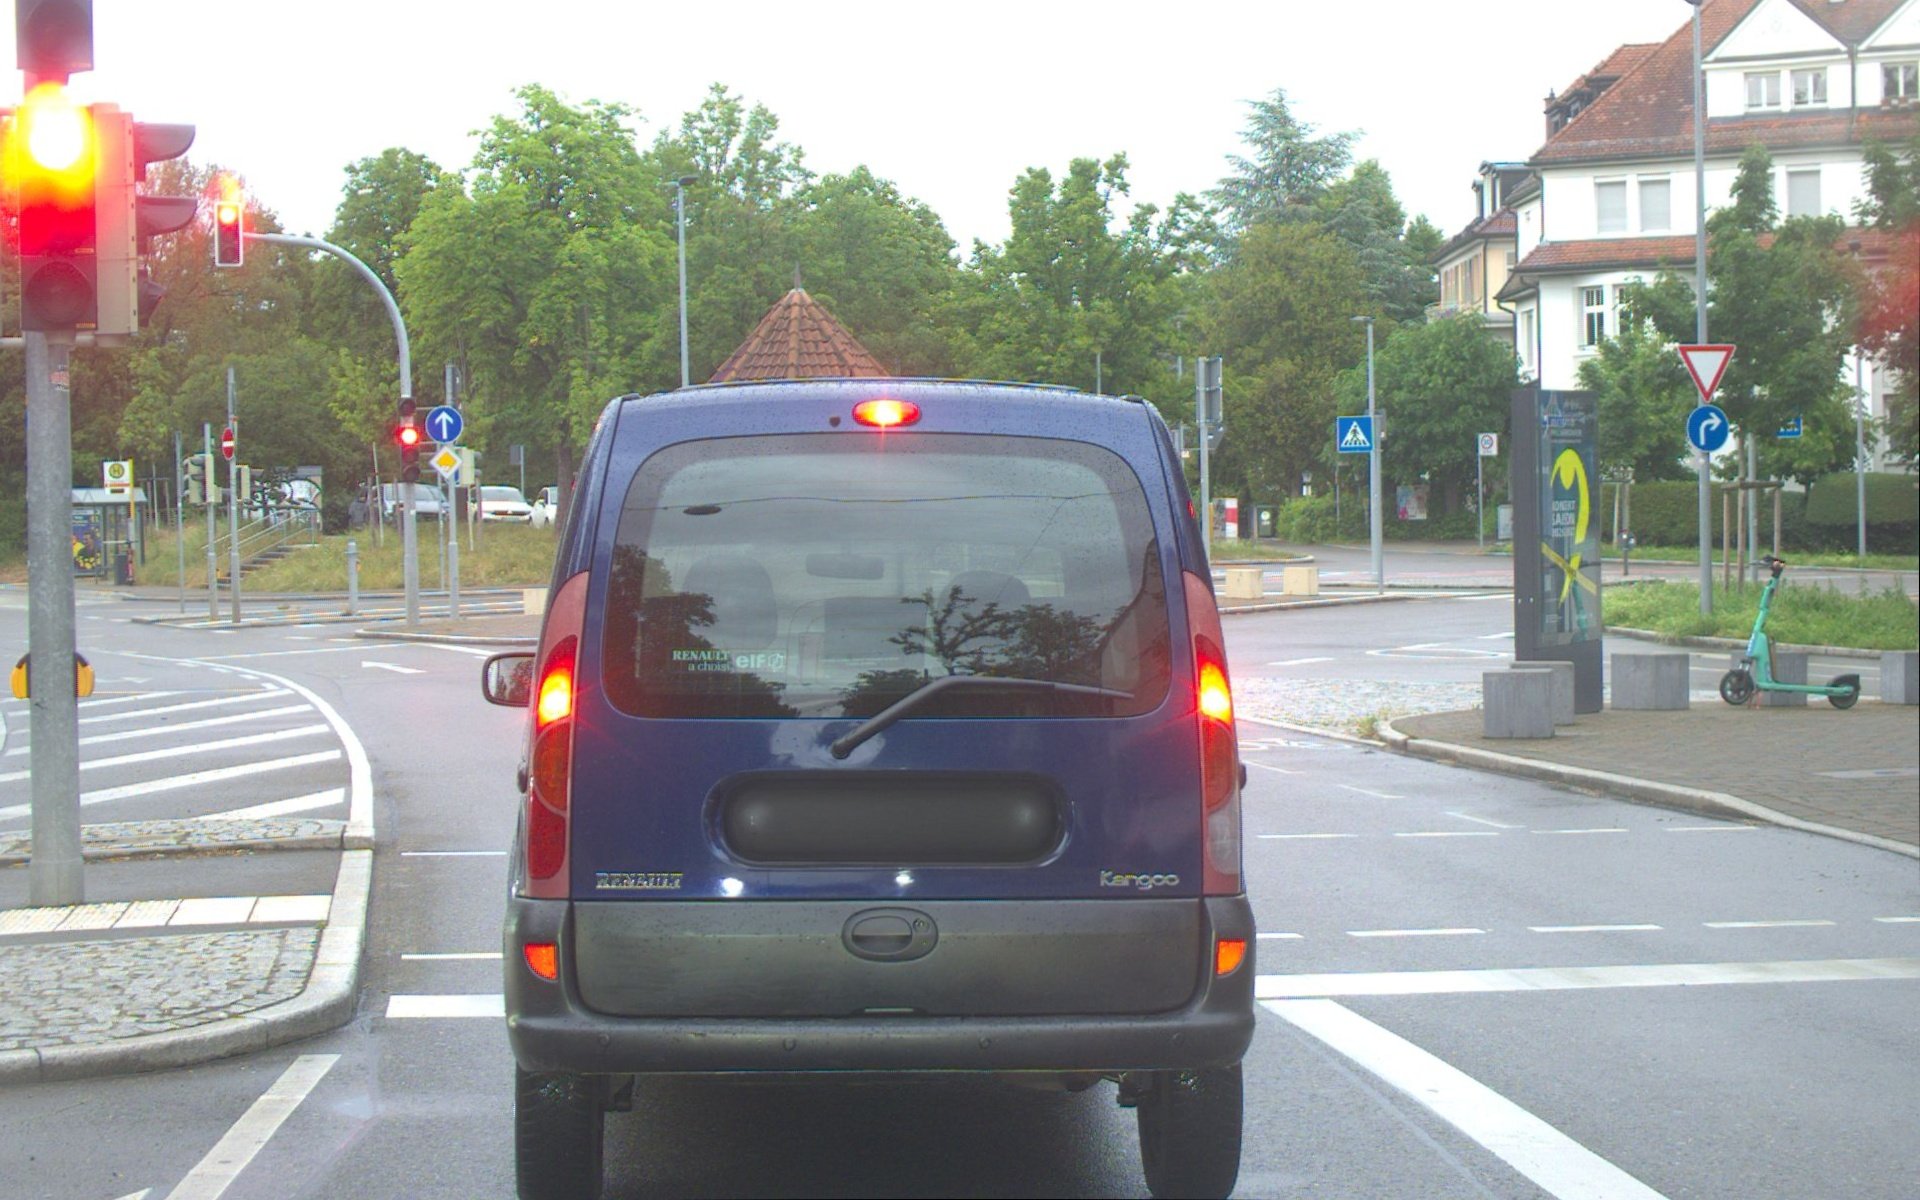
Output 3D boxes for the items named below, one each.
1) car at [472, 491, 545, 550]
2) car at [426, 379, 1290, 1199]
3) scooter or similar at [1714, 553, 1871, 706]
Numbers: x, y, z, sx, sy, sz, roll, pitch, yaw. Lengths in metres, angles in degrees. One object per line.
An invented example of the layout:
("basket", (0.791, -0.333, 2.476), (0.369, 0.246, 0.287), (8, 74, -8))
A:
("car", (-14.401, -2.533, 109.878), (1.993, 1.806, 4.000), (0, 0, -3))
("car", (-0.285, 0.404, 8.909), (1.731, 1.780, 4.001), (0, 1, -2))
("scooter or similar", (6.723, 0.238, 27.781), (1.149, 1.214, 0.406), (-1, 0, -1))
